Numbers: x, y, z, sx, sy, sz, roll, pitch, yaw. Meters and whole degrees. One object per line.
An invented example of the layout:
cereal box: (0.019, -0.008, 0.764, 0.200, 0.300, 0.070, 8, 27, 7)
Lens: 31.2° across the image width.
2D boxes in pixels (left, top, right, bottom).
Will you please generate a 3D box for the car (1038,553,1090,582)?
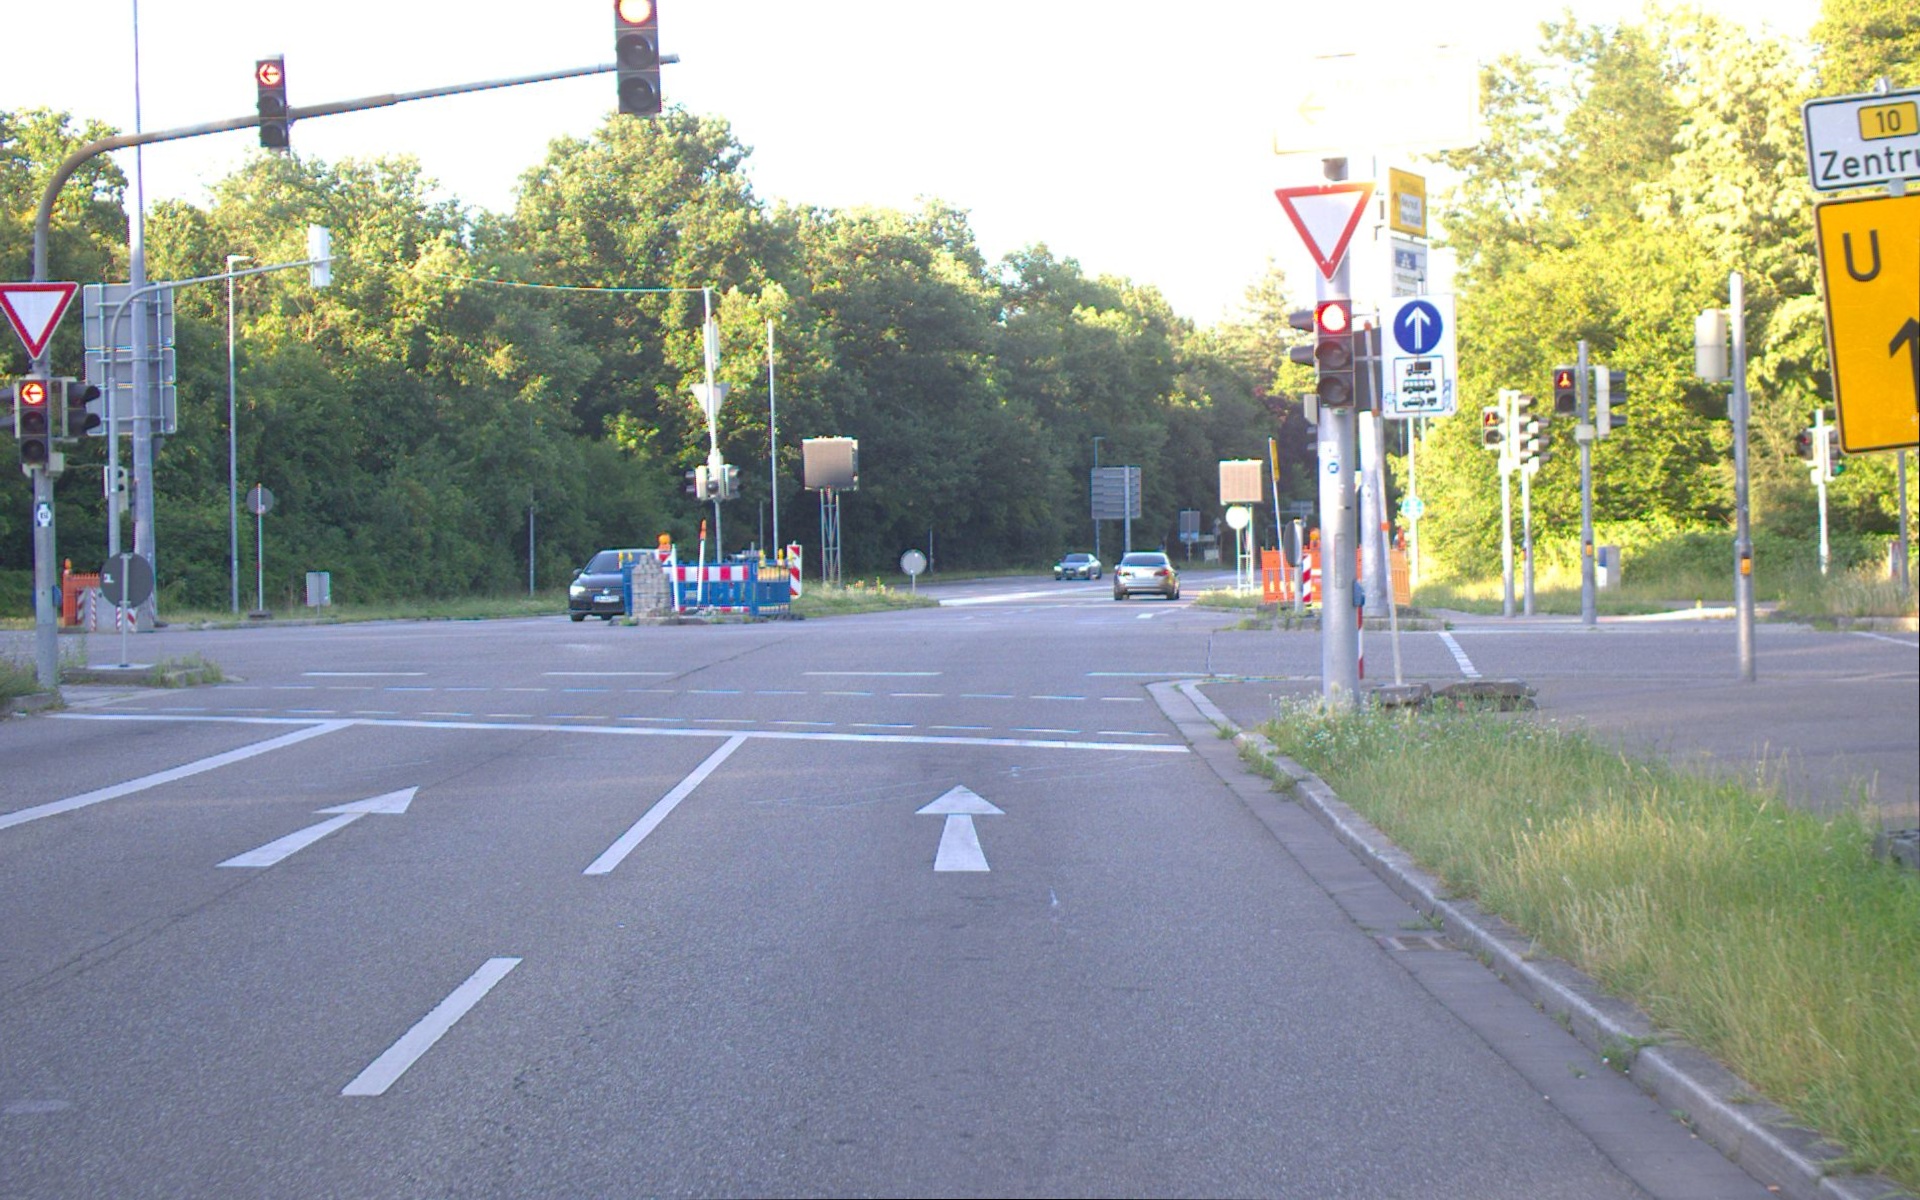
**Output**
car: (5.541, -1.733, 182.648, 1.995, 1.415, 3.998, -1, 1, 14)

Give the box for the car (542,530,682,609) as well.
car: (-7.047, -0.645, 70.086, 1.994, 1.524, 4.678, -1, 1, 5)

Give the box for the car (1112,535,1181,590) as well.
car: (5.804, -1.176, 106.476, 1.994, 1.612, 4.000, -1, 1, 5)
